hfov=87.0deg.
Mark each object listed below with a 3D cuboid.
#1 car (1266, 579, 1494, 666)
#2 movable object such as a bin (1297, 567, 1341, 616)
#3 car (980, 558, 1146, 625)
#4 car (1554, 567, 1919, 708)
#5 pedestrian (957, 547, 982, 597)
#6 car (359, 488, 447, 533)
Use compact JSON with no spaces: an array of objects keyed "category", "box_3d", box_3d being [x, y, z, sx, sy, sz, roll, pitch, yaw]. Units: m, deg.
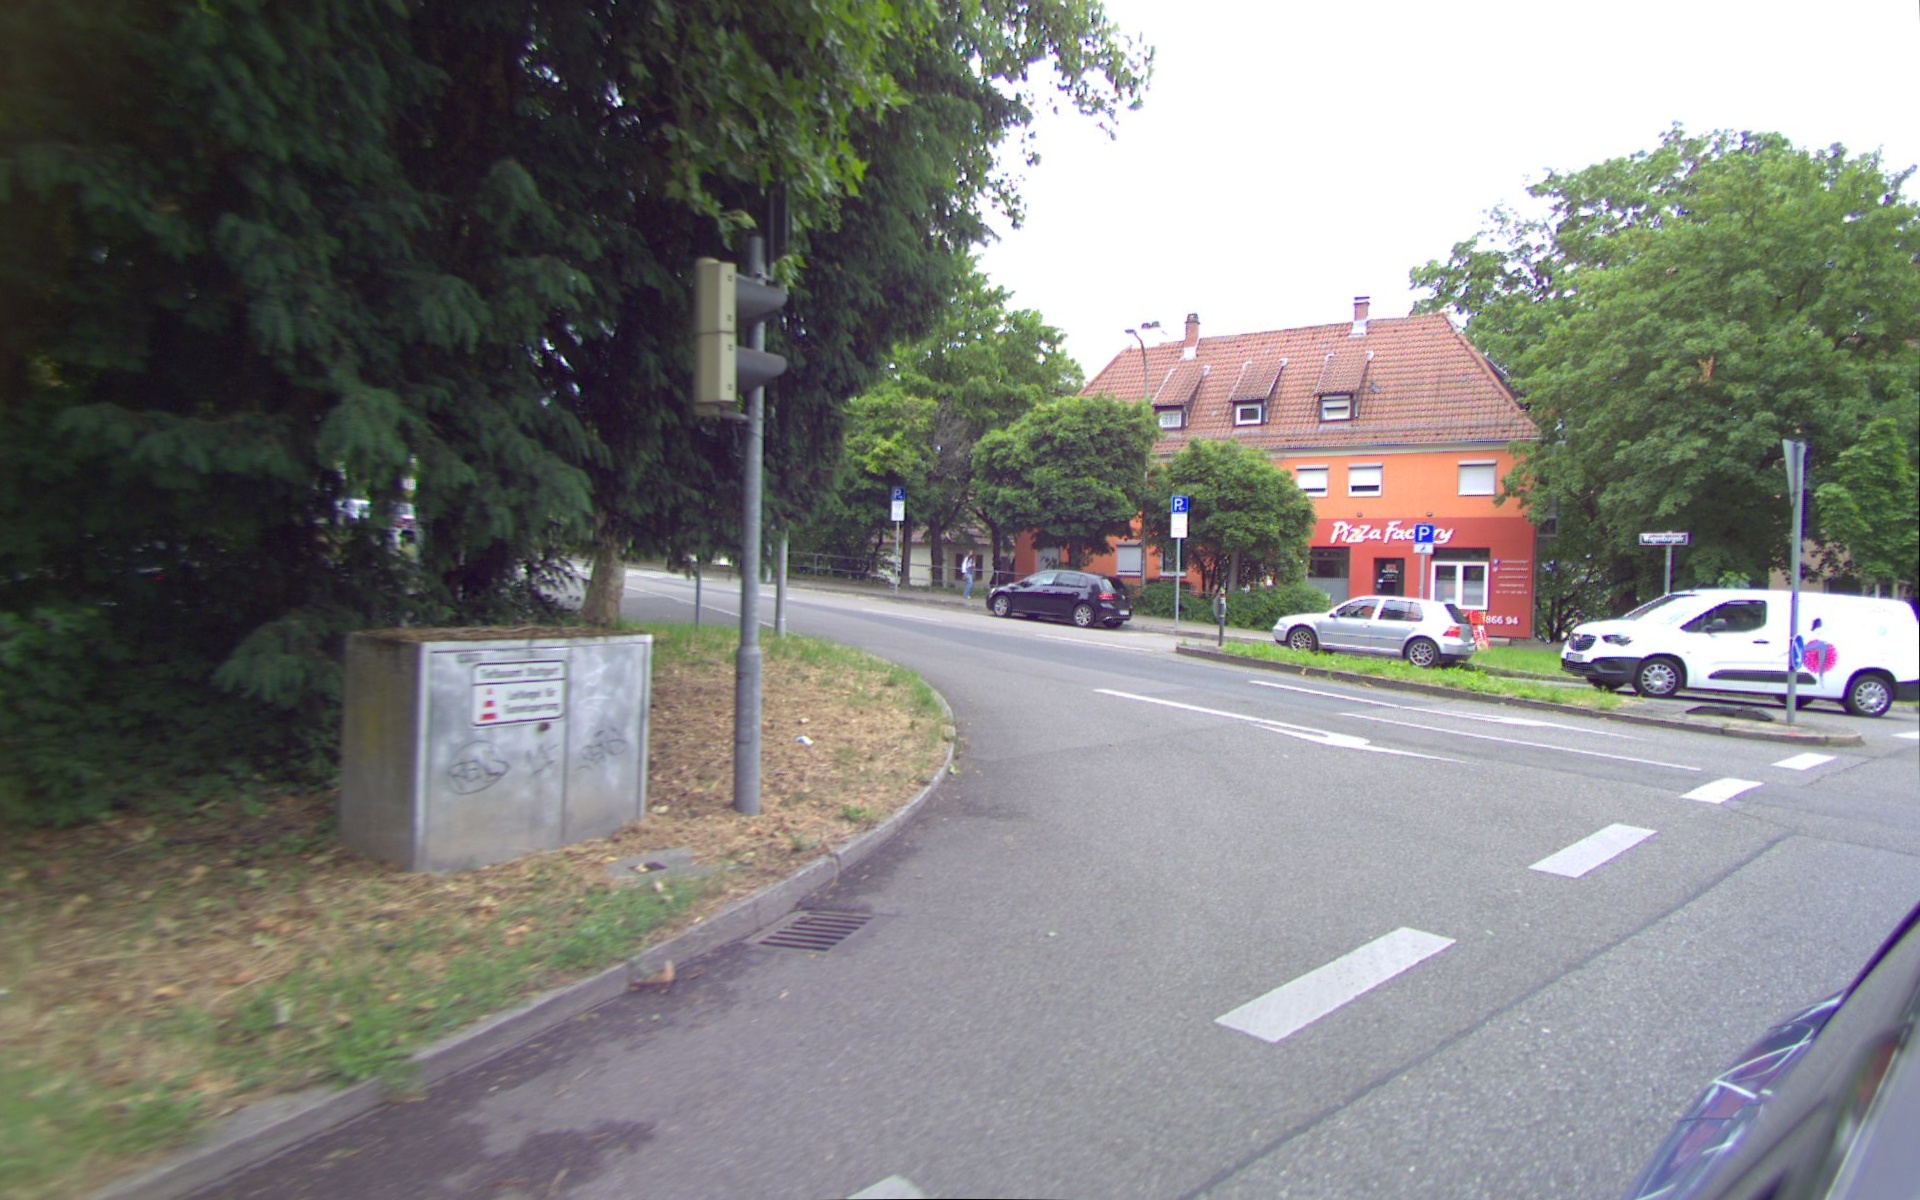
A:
[{"category":"car","box_3d":[8.975,0.457,21.787,4.115,1.446,1.835,6,1,40]},{"category":"movable object such as a bin","box_3d":[11.487,-0.272,32.359,1.073,1.468,1.230,4,2,29]},{"category":"car","box_3d":[2.715,-0.250,27.238,4.111,1.445,1.714,6,3,38]},{"category":"car","box_3d":[12.409,0.565,16.028,4.762,1.811,1.786,4,0,7]},{"category":"pedestrian","box_3d":[0.301,-0.921,32.478,0.489,1.562,0.670,5,4,30]},{"category":"car","box_3d":[-23.076,-3.706,41.899,3.986,1.606,1.920,5,1,42]}]
